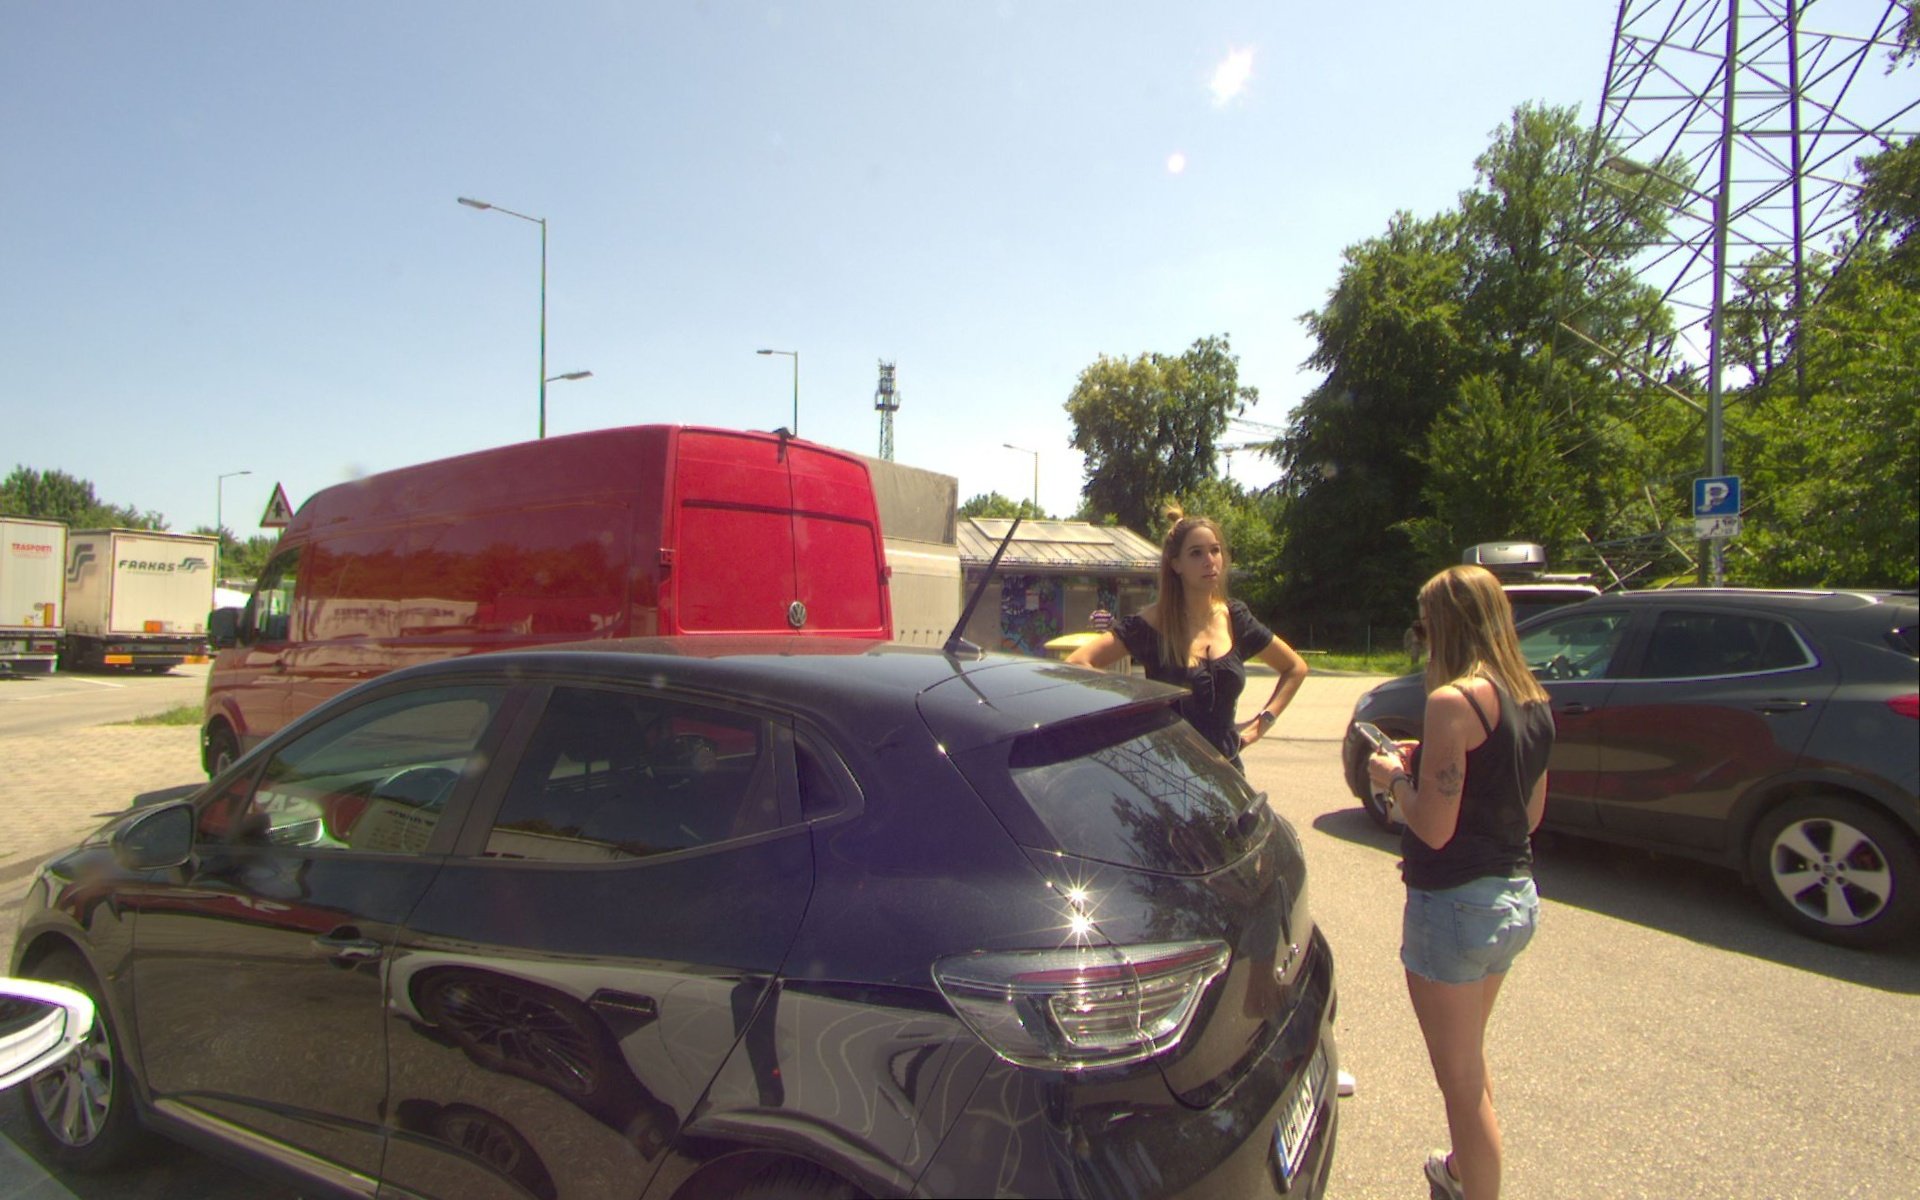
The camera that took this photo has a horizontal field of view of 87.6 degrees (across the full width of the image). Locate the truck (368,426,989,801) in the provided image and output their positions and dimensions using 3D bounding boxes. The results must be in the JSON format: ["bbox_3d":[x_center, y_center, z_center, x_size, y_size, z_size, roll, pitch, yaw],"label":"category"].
[{"bbox_3d":[-3.247,0.131,10.535,6.874,2.828,2.460,0,-1,35],"label":"truck"}]

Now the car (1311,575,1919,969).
[{"bbox_3d":[4.242,0.753,5.984,1.820,1.644,4.037,1,-1,-23],"label":"car"}]

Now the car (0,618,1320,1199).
[{"bbox_3d":[-1.047,0.832,2.821,3.706,1.503,1.615,0,-1,27],"label":"car"}]

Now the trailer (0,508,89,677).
[{"bbox_3d":[-28.340,-0.329,27.778,12.255,4.090,2.862,2,-1,33],"label":"trailer"}]

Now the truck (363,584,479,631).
[{"bbox_3d":[-34.704,0.470,64.257,9.637,2.857,2.121,0,-1,33],"label":"truck"}]

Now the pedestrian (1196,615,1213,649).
[{"bbox_3d":[11.278,1.466,46.176,0.577,1.536,0.592,1,0,-10],"label":"pedestrian"}]

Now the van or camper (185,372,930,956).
[{"bbox_3d":[-3.353,0.322,7.329,6.394,2.688,1.990,0,-1,36],"label":"van or camper"}]

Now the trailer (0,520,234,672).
[{"bbox_3d":[-27.279,-0.199,31.443,12.255,4.090,2.862,2,-1,33],"label":"trailer"}]

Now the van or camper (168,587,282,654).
[{"bbox_3d":[-30.395,0.822,41.364,5.296,2.595,2.100,0,-1,34],"label":"van or camper"}]

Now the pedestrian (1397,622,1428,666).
[{"bbox_3d":[14.516,1.404,32.132,0.695,1.392,0.607,1,0,-3],"label":"pedestrian"}]

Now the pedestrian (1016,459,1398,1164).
[{"bbox_3d":[0.735,0.583,3.181,0.900,1.896,0.773,1,0,-14],"label":"pedestrian"}]

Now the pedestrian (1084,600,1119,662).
[{"bbox_3d":[3.824,0.830,27.078,0.742,1.629,0.765,1,0,-8],"label":"pedestrian"}]

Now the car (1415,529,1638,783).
[{"bbox_3d":[6.553,0.566,11.534,1.892,2.354,4.074,-1,-1,32],"label":"car"}]

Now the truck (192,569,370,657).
[{"bbox_3d":[-31.676,0.508,46.455,11.255,3.615,2.484,2,-1,33],"label":"truck"}]

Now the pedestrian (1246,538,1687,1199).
[{"bbox_3d":[1.139,0.695,2.351,0.642,1.606,0.648,1,0,-14],"label":"pedestrian"}]
